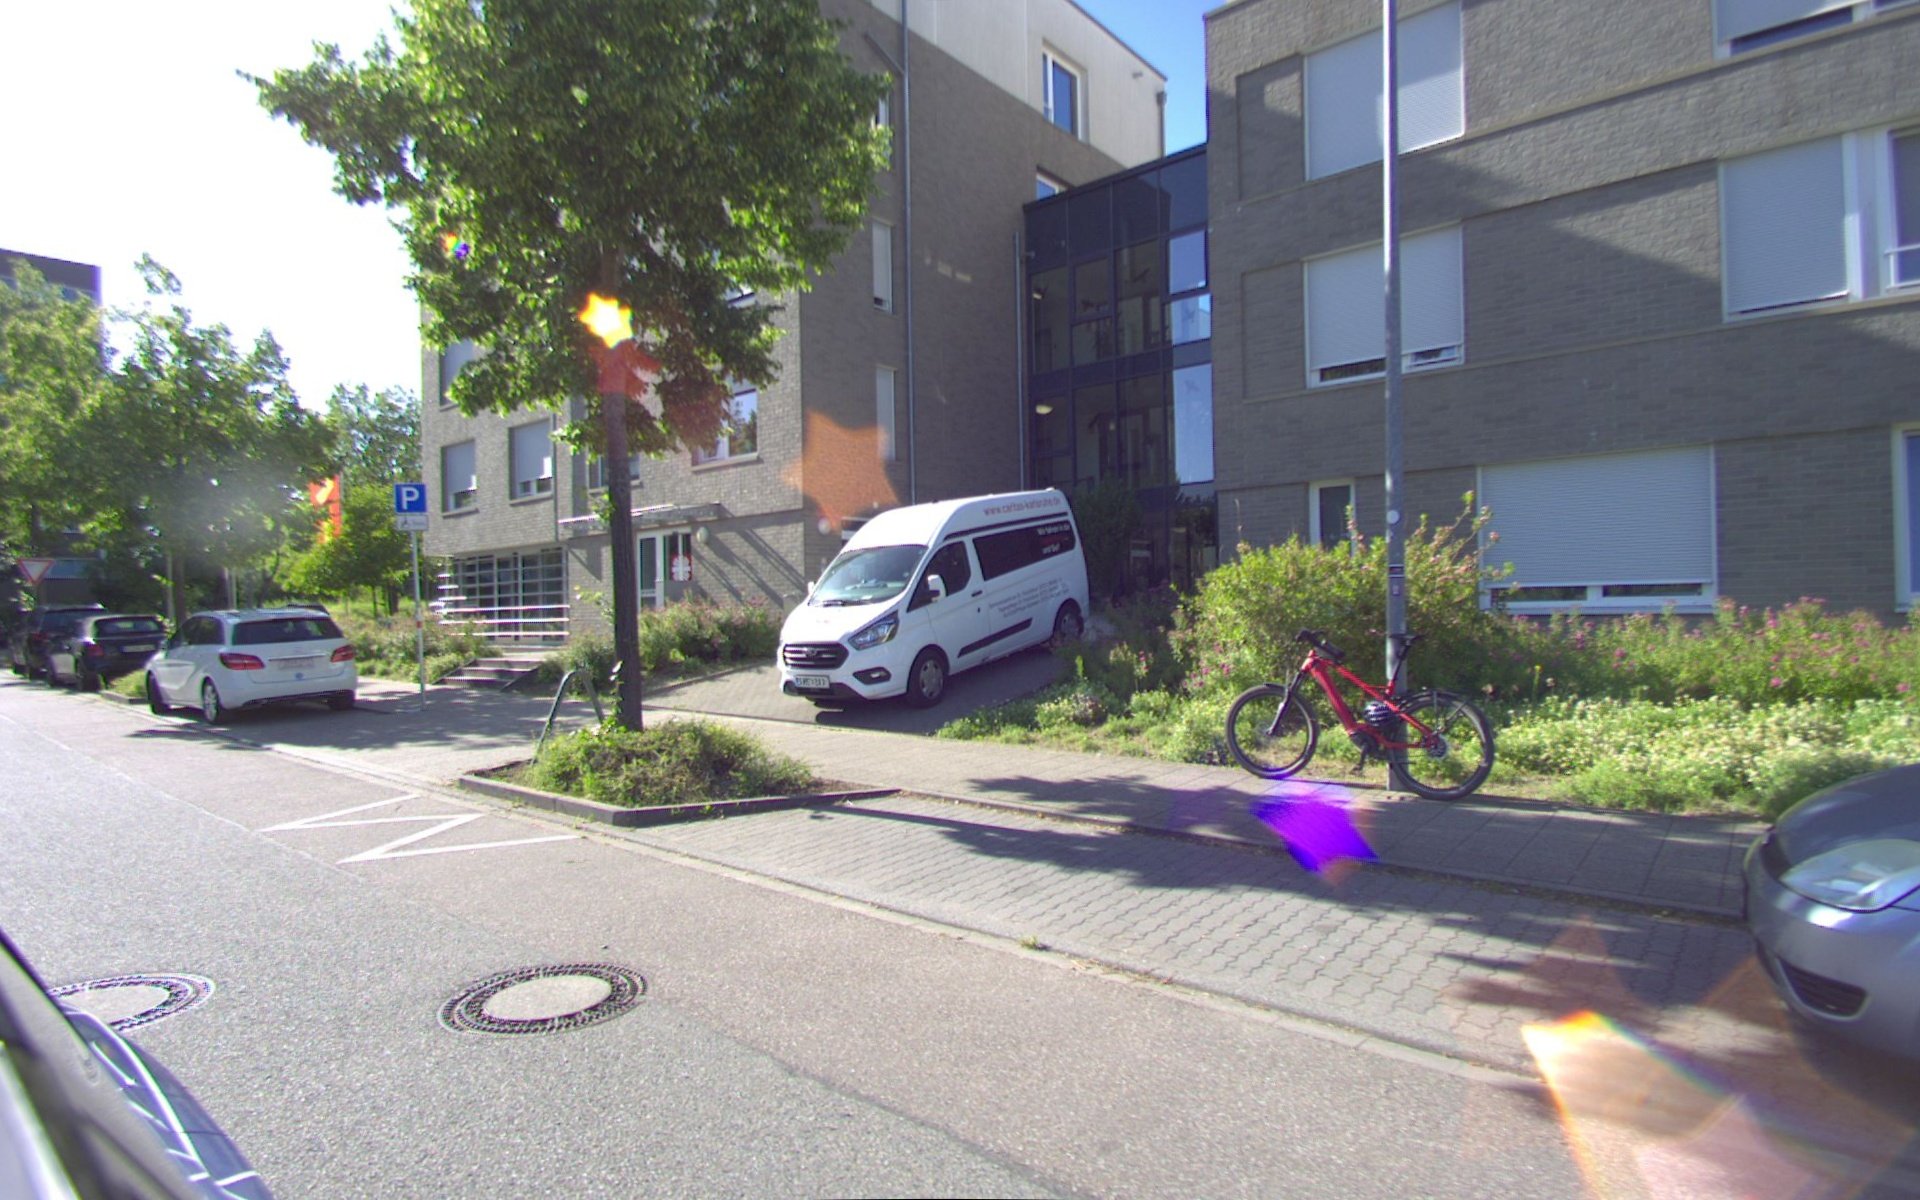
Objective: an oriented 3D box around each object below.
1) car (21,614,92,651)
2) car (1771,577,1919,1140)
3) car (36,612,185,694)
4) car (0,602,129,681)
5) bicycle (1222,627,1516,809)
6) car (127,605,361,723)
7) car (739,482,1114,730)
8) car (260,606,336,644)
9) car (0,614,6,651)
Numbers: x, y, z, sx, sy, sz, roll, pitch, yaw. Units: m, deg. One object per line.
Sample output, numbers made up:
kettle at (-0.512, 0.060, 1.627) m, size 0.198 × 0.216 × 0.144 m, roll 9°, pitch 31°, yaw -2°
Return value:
car at (-39.220, 1.369, 43.911) m, size 3.998 × 1.397 × 1.798 m, roll 2°, pitch 1°, yaw 41°
car at (4.293, 0.643, 2.232) m, size 3.870 × 1.476 × 1.595 m, roll -1°, pitch -1°, yaw 39°
car at (-17.413, 1.037, 20.699) m, size 3.784 × 1.515 × 1.563 m, roll -1°, pitch -1°, yaw 37°
car at (-21.724, 0.918, 24.434) m, size 4.337 × 1.631 × 1.867 m, roll 0°, pitch 3°, yaw 42°
bicycle at (2.815, 0.767, 7.197) m, size 0.280 × 1.133 × 1.986 m, roll -1°, pitch -1°, yaw -43°
car at (-10.832, 0.888, 15.207) m, size 4.279 × 1.544 × 1.644 m, roll -2°, pitch -1°, yaw 37°
car at (-0.134, -0.161, 13.544) m, size 1.918 × 2.399 × 5.401 m, roll -1°, pitch 7°, yaw 36°
car at (-33.177, 1.208, 50.665) m, size 4.599 × 1.792 × 1.973 m, roll 0°, pitch 0°, yaw 41°
car at (-40.928, 1.308, 41.763) m, size 3.815 × 1.510 × 1.680 m, roll 1°, pitch 1°, yaw 37°
